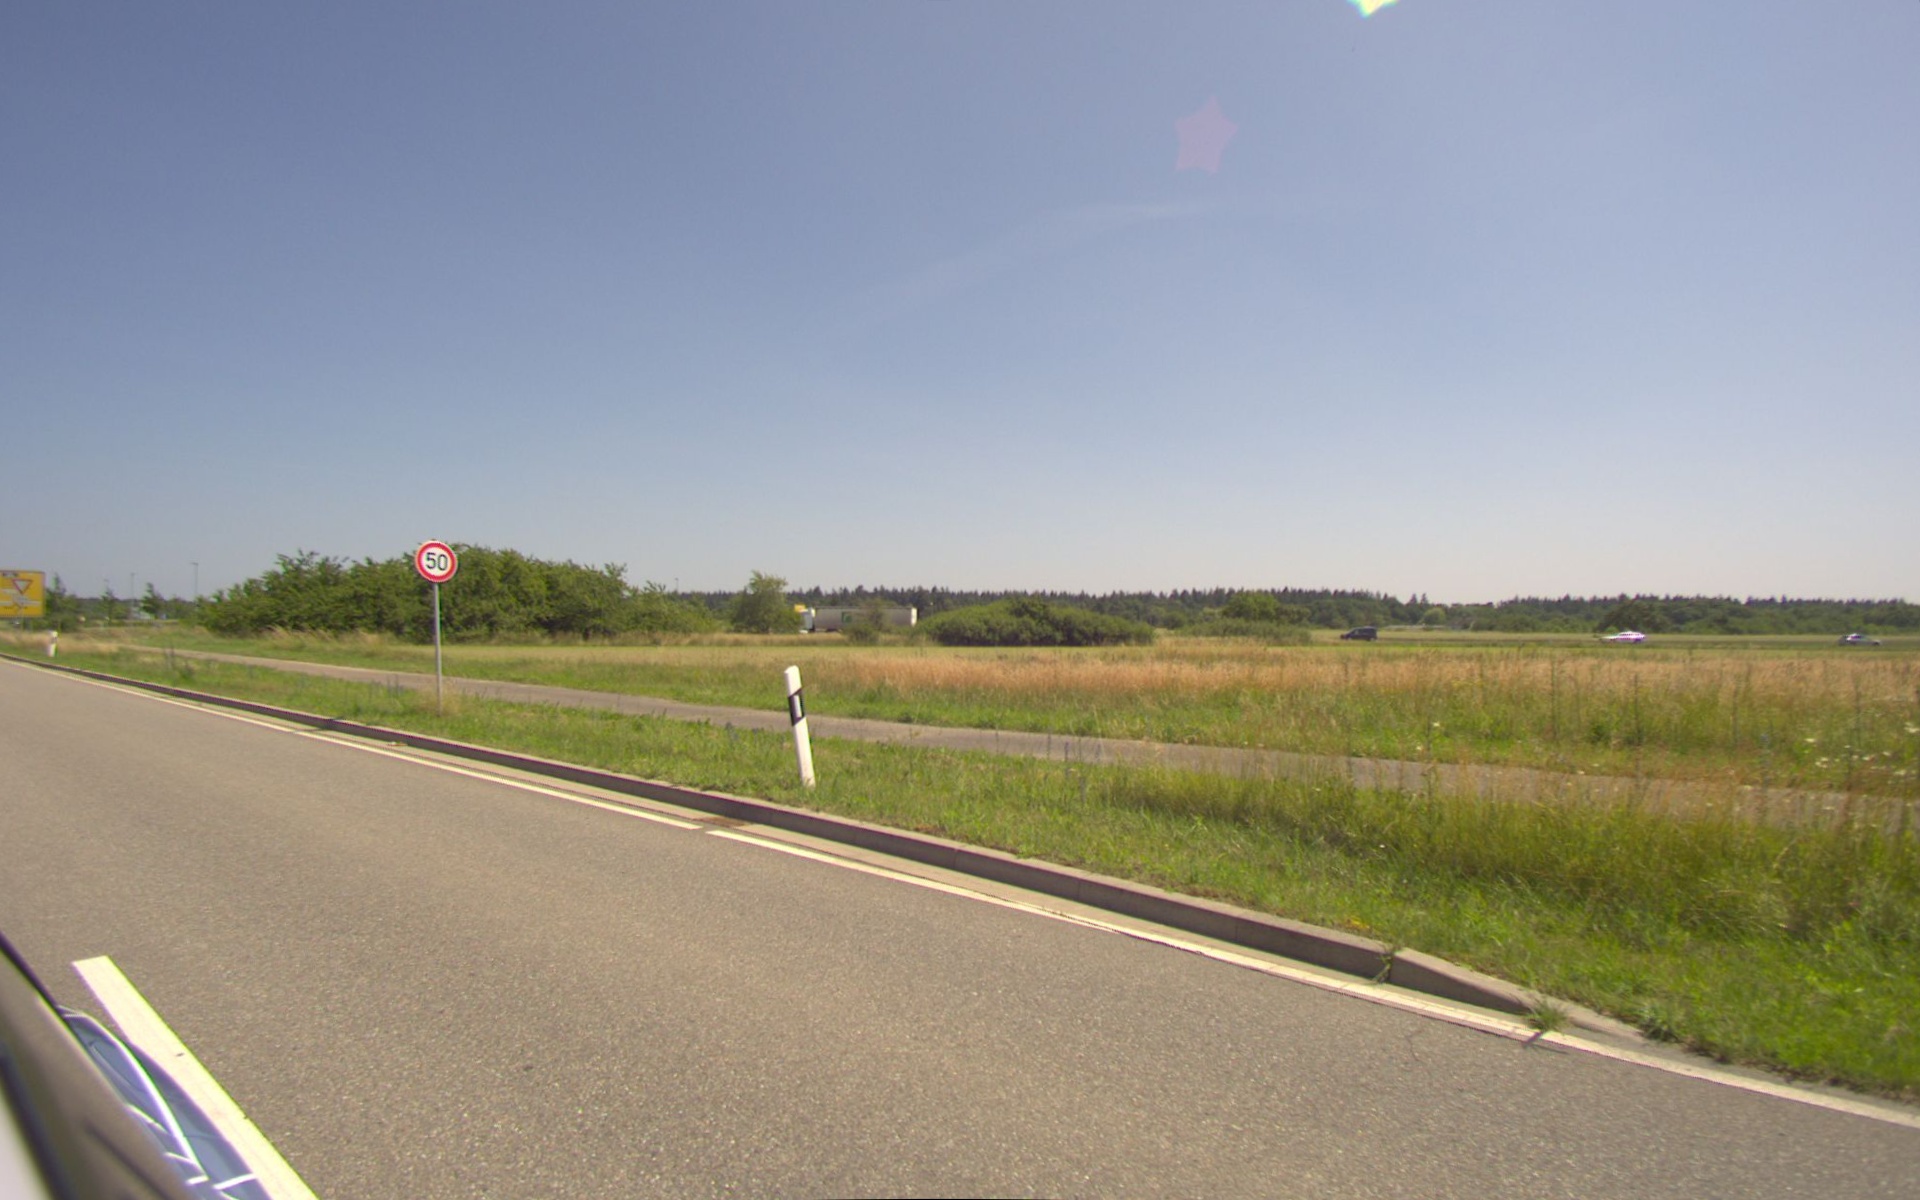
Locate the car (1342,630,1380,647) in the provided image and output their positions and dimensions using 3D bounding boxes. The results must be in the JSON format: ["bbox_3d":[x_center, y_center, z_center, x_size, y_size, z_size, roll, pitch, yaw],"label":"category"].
[{"bbox_3d":[49.014,4.670,123.841,3.953,2.029,1.995,0,-2,8],"label":"car"}]

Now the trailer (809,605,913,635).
[{"bbox_3d":[-13.192,2.696,134.898,13.738,3.964,2.633,0,-2,12],"label":"trailer"}]

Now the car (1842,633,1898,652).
[{"bbox_3d":[101.562,4.747,113.020,4.179,2.029,1.995,0,-2,7],"label":"car"}]

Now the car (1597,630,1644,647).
[{"bbox_3d":[78.798,4.599,120.840,4.185,2.029,1.993,0,-2,12],"label":"car"}]

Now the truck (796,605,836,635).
[{"bbox_3d":[-19.395,2.735,136.246,4.729,3.964,2.633,0,-2,12],"label":"truck"}]
